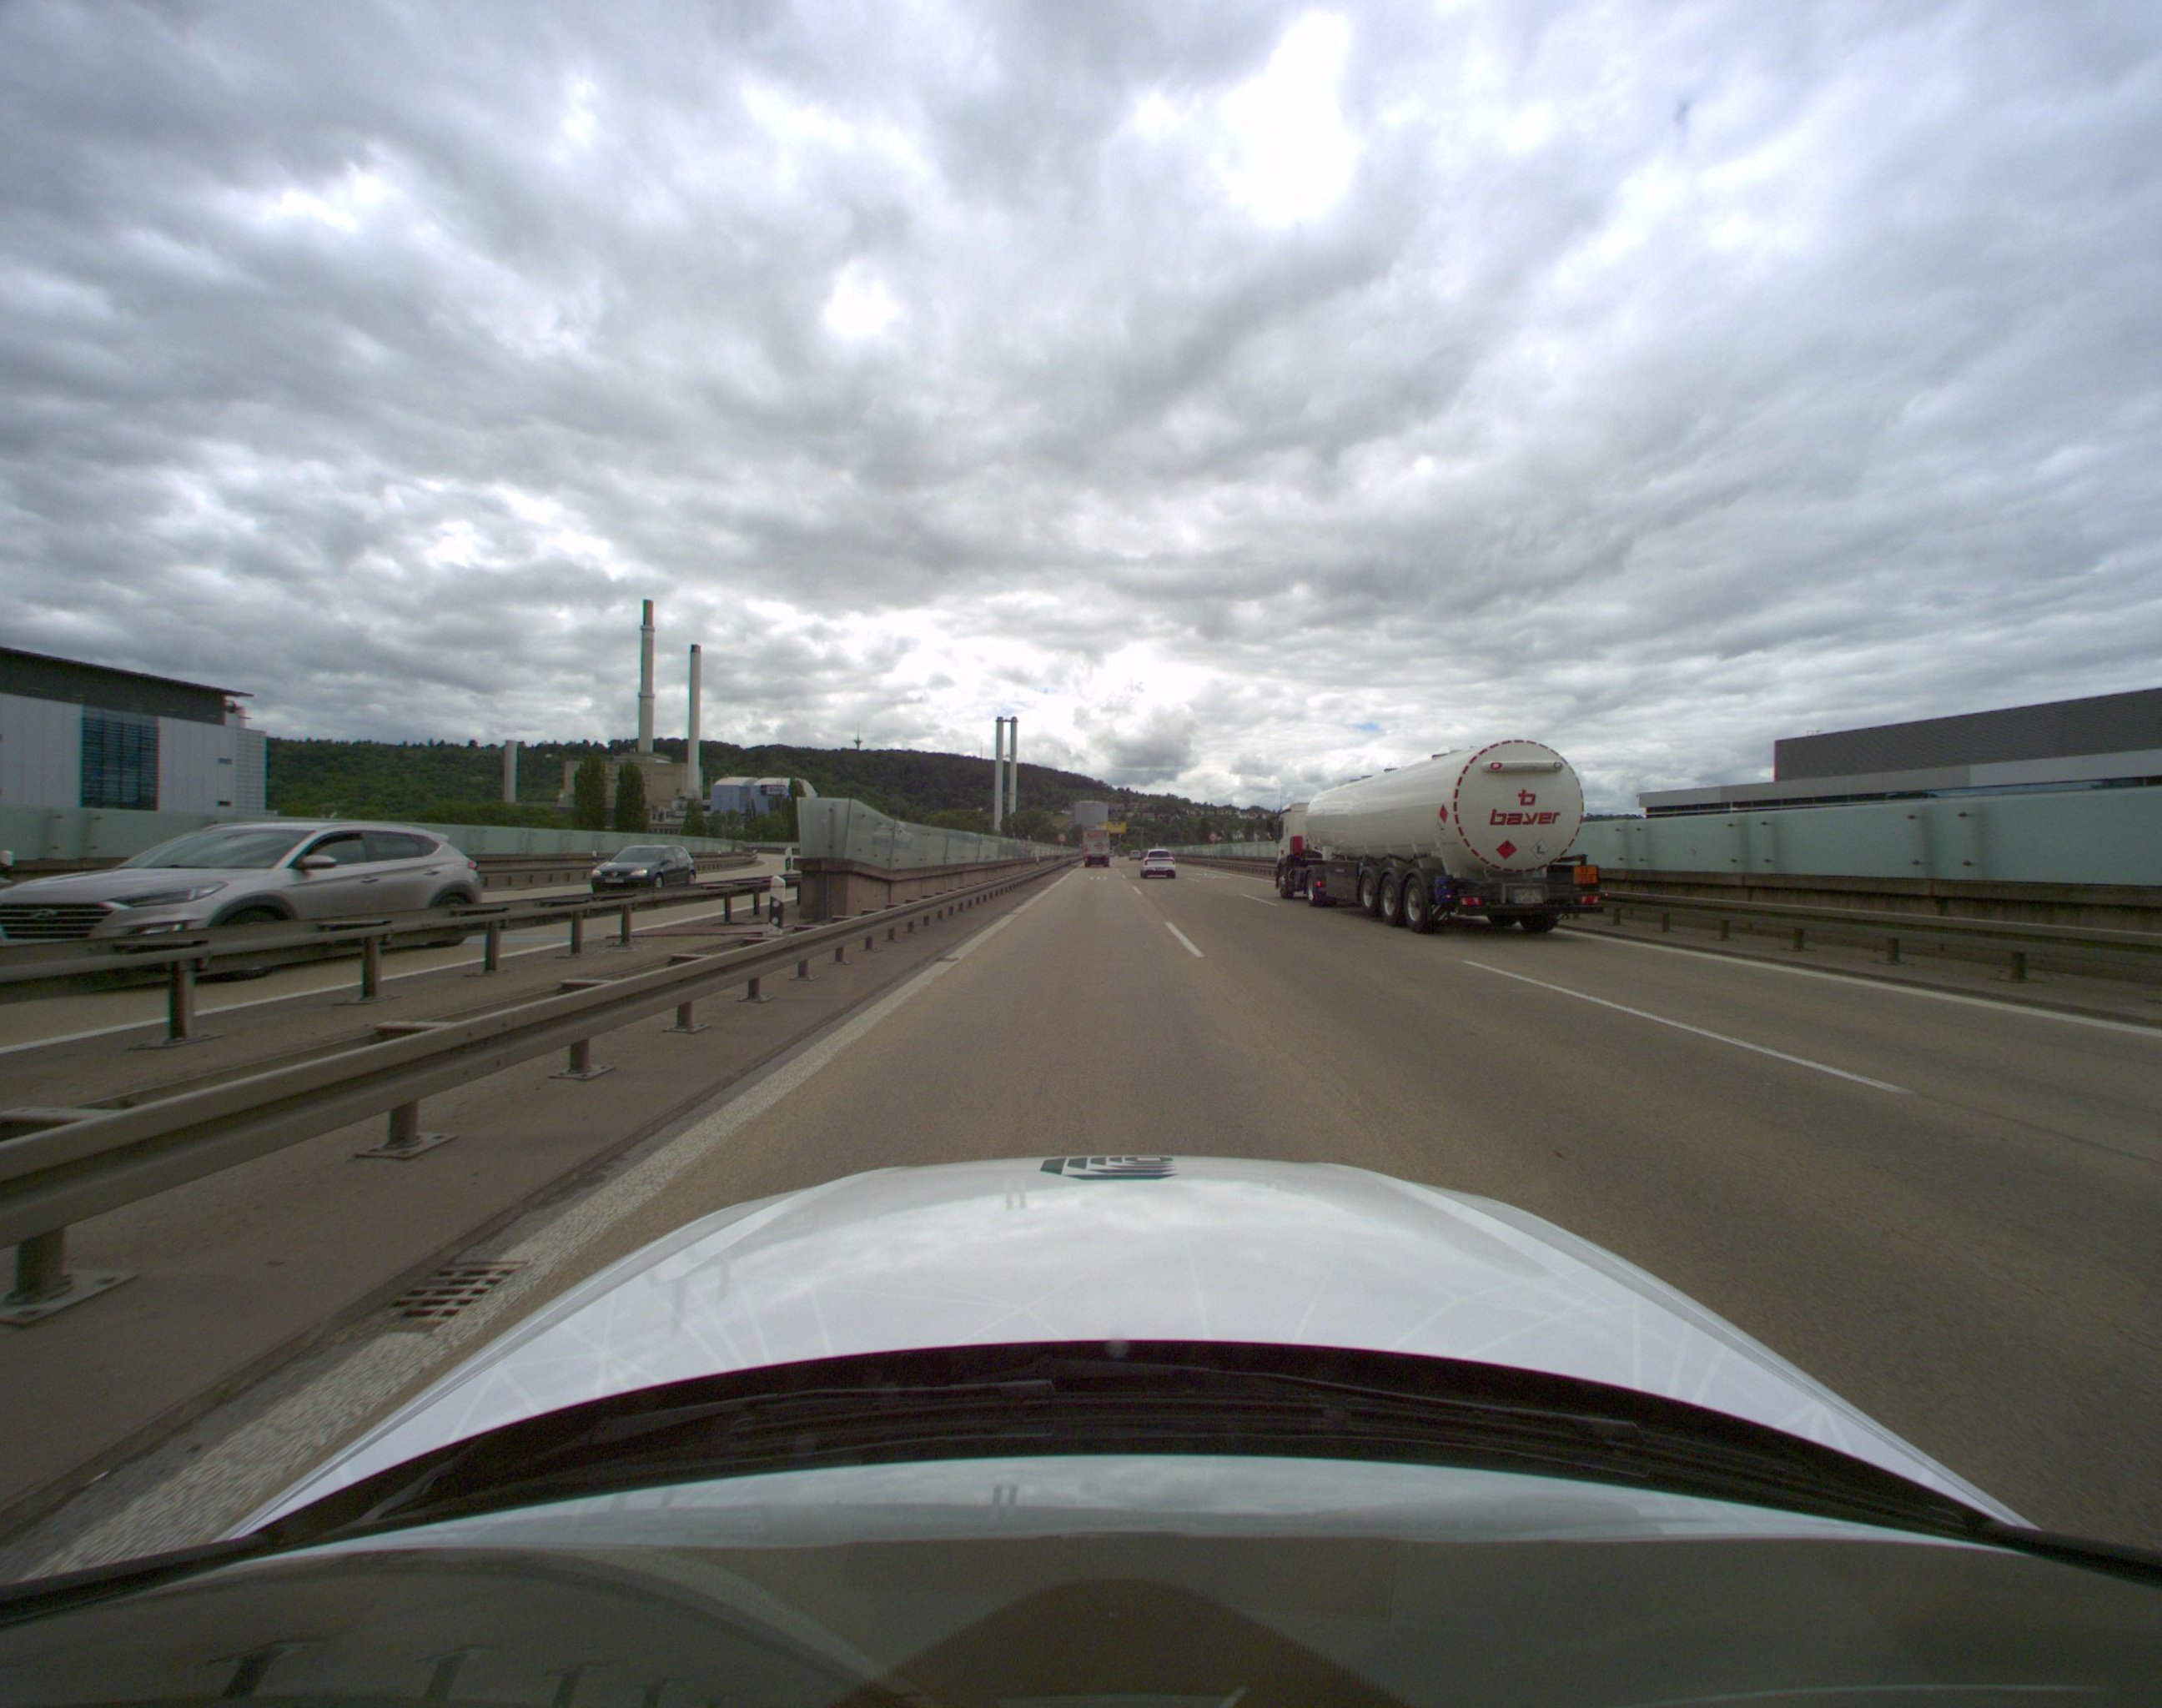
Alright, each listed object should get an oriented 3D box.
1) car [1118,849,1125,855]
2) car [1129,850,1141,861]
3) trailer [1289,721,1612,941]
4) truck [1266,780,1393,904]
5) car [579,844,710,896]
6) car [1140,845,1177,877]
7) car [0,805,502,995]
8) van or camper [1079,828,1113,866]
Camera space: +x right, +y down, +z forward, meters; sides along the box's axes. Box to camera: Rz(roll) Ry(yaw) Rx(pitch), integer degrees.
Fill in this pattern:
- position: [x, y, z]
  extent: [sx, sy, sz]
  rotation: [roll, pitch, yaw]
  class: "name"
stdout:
- position: [11.960, -0.485, 240.267]
  extent: [1.916, 1.785, 4.115]
  rotation: [0, 0, 2]
  class: "car"
- position: [8.926, 0.279, 134.806]
  extent: [1.915, 1.785, 4.118]
  rotation: [0, 0, 4]
  class: "car"
- position: [7.398, -0.362, 18.760]
  extent: [2.640, 3.543, 11.224]
  rotation: [0, 0, 2]
  class: "trailer"
- position: [7.609, -0.351, 25.575]
  extent: [2.621, 3.514, 4.906]
  rotation: [0, 0, 2]
  class: "truck"
- position: [-13.086, 0.434, 24.754]
  extent: [1.756, 1.431, 4.393]
  rotation: [0, 0, -2]
  class: "car"
- position: [4.453, 0.382, 47.235]
  extent: [1.916, 1.785, 4.115]
  rotation: [0, 0, 2]
  class: "car"
- position: [-9.063, 0.390, 9.374]
  extent: [1.841, 1.673, 4.402]
  rotation: [0, 0, -3]
  class: "car"
- position: [1.584, -0.666, 81.114]
  extent: [3.109, 3.579, 8.555]
  rotation: [0, 0, 2]
  class: "van or camper"
